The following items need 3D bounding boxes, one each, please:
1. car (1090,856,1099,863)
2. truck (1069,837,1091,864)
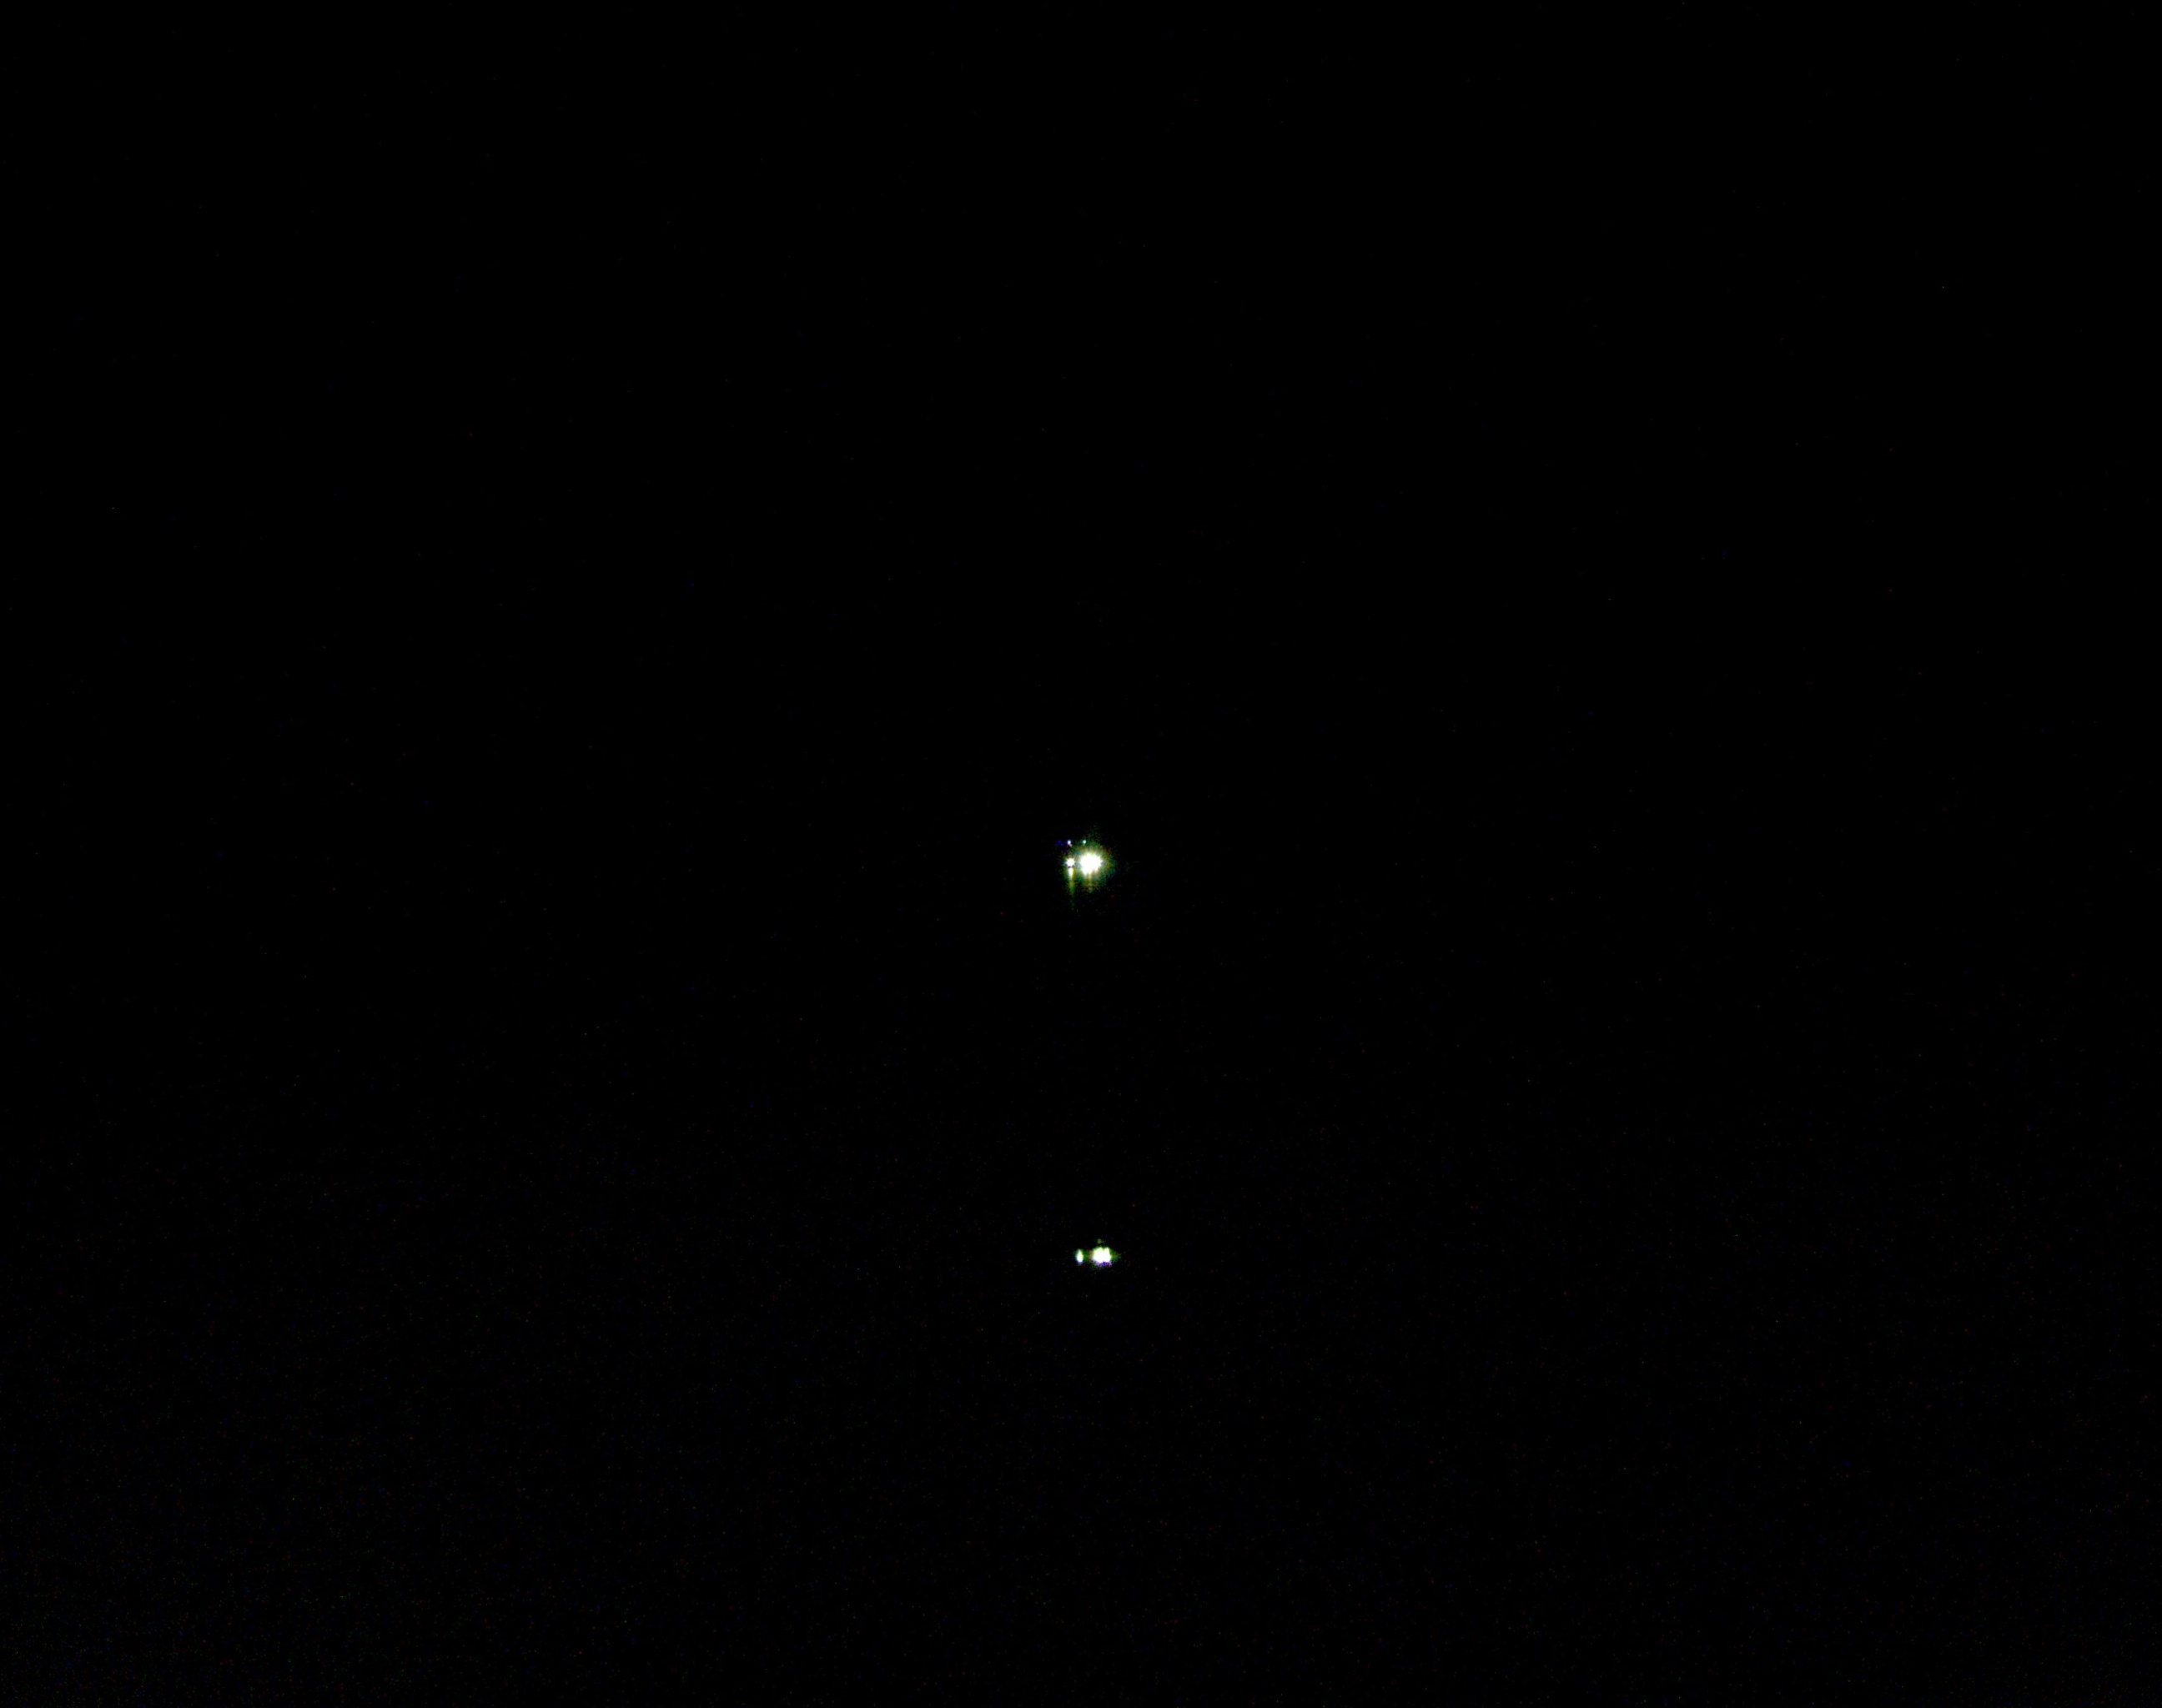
[{"bbox_3d":[3.283,1.331,180.186,1.845,1.475,4.293,-2,0,4],"label":"car"},{"bbox_3d":[-0.067,-0.519,117.414,3.003,3.877,12.887,-2,0,1],"label":"truck"}]
